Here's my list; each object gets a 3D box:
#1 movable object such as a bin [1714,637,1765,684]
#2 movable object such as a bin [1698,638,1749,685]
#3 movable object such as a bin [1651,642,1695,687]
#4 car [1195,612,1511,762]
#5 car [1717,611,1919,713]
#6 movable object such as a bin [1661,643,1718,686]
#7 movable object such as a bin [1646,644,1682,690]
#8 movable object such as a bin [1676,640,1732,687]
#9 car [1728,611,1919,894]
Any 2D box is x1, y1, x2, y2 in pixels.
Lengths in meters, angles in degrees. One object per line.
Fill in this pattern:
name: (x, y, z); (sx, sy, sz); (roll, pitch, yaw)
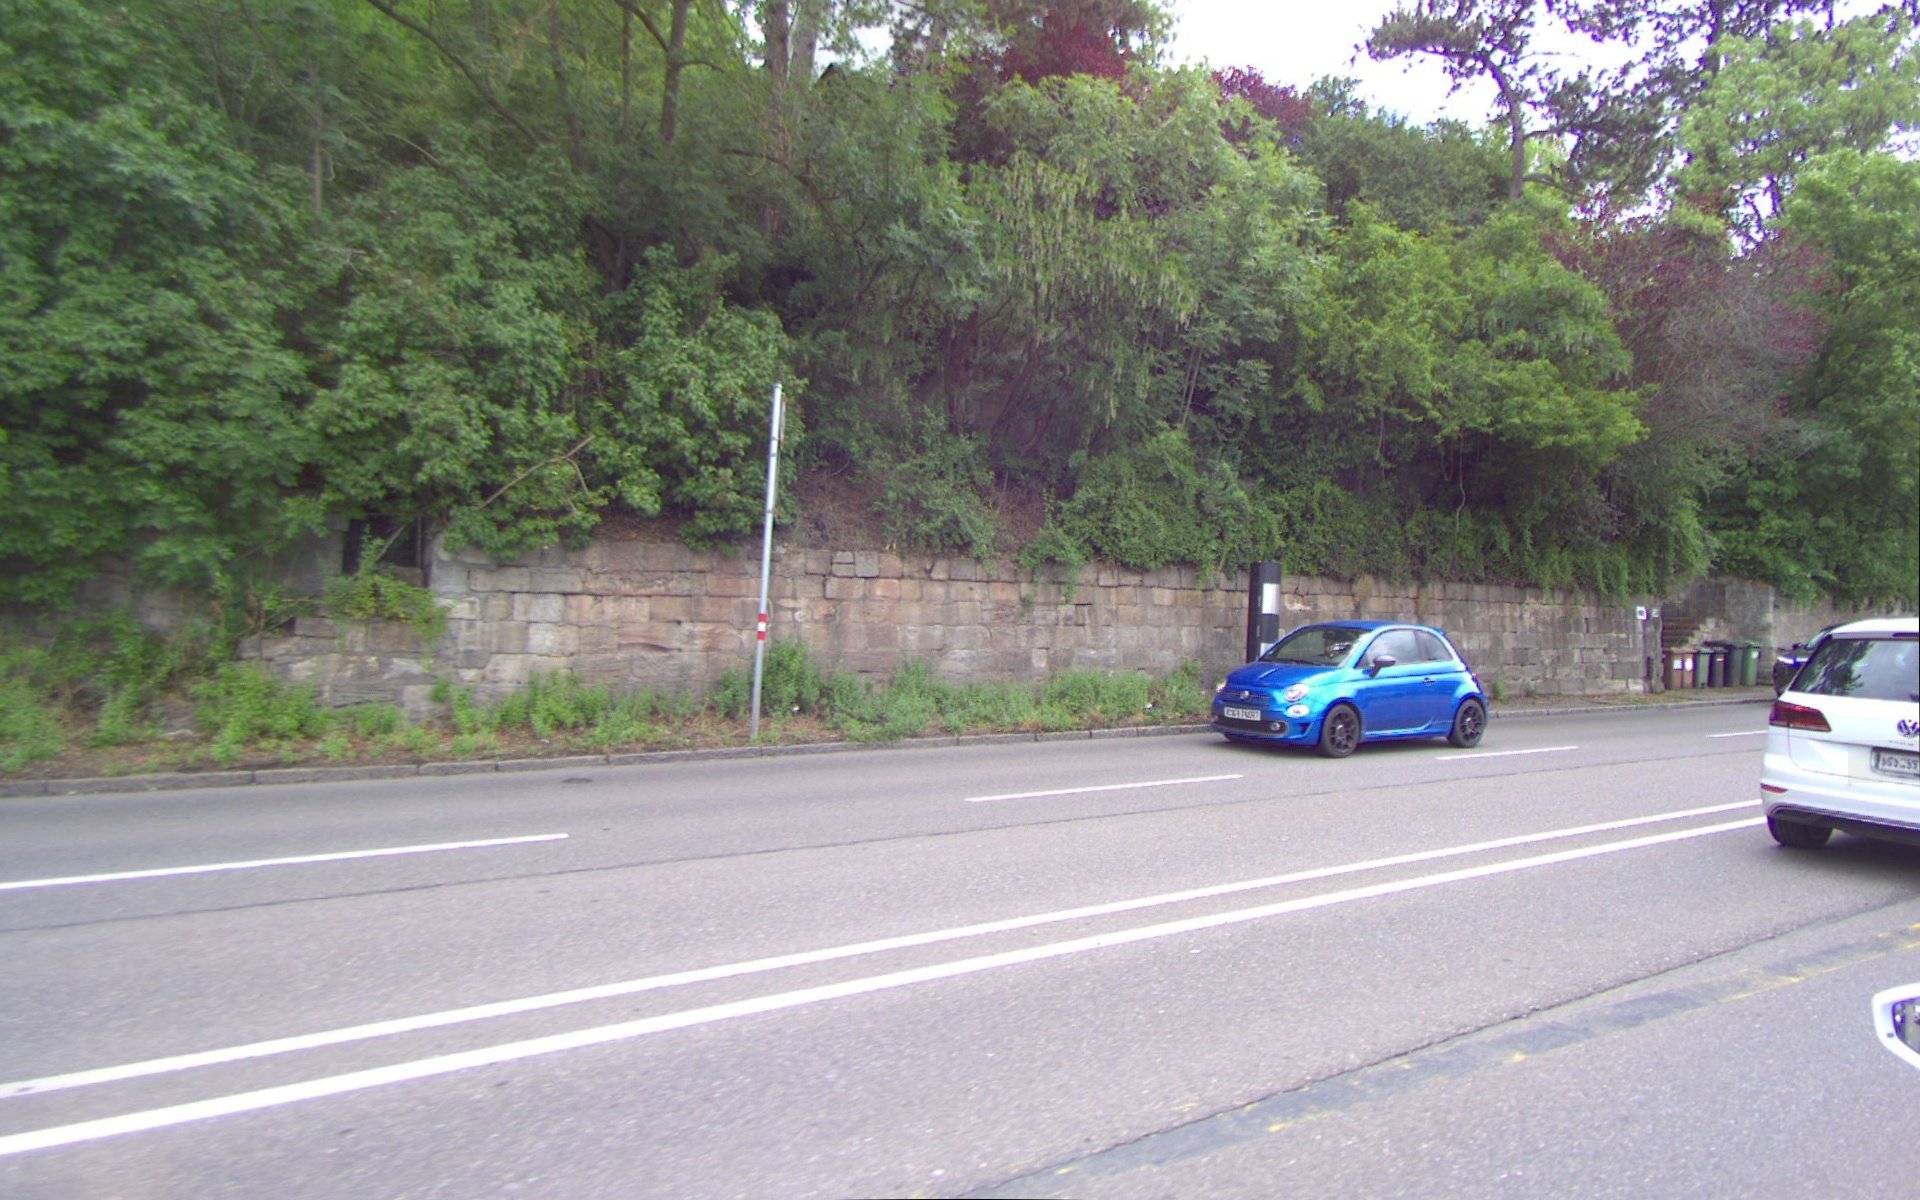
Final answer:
movable object such as a bin: (18.821, 1.443, 24.260); (0.701, 1.085, 0.783); (0, 0, -33)
movable object such as a bin: (18.178, 1.457, 23.915); (0.710, 1.076, 0.767); (1, 0, -33)
movable object such as a bin: (16.361, 1.467, 23.048); (0.537, 0.978, 0.670); (1, 0, -33)
car: (4.650, 0.952, 11.823); (3.480, 1.481, 1.576); (2, 1, -29)
car: (16.642, 1.146, 19.167); (4.414, 1.720, 1.808); (2, 0, -28)
movable object such as a bin: (16.935, 1.487, 23.333); (0.587, 0.958, 0.911); (1, 0, -32)
movable object such as a bin: (15.716, 1.490, 22.423); (0.469, 0.978, 0.514); (1, 0, -33)
movable object such as a bin: (17.495, 1.482, 23.630); (0.614, 1.048, 0.893); (1, 0, -33)
car: (7.206, 0.917, 6.815); (4.226, 1.575, 1.711); (1, 0, -31)
